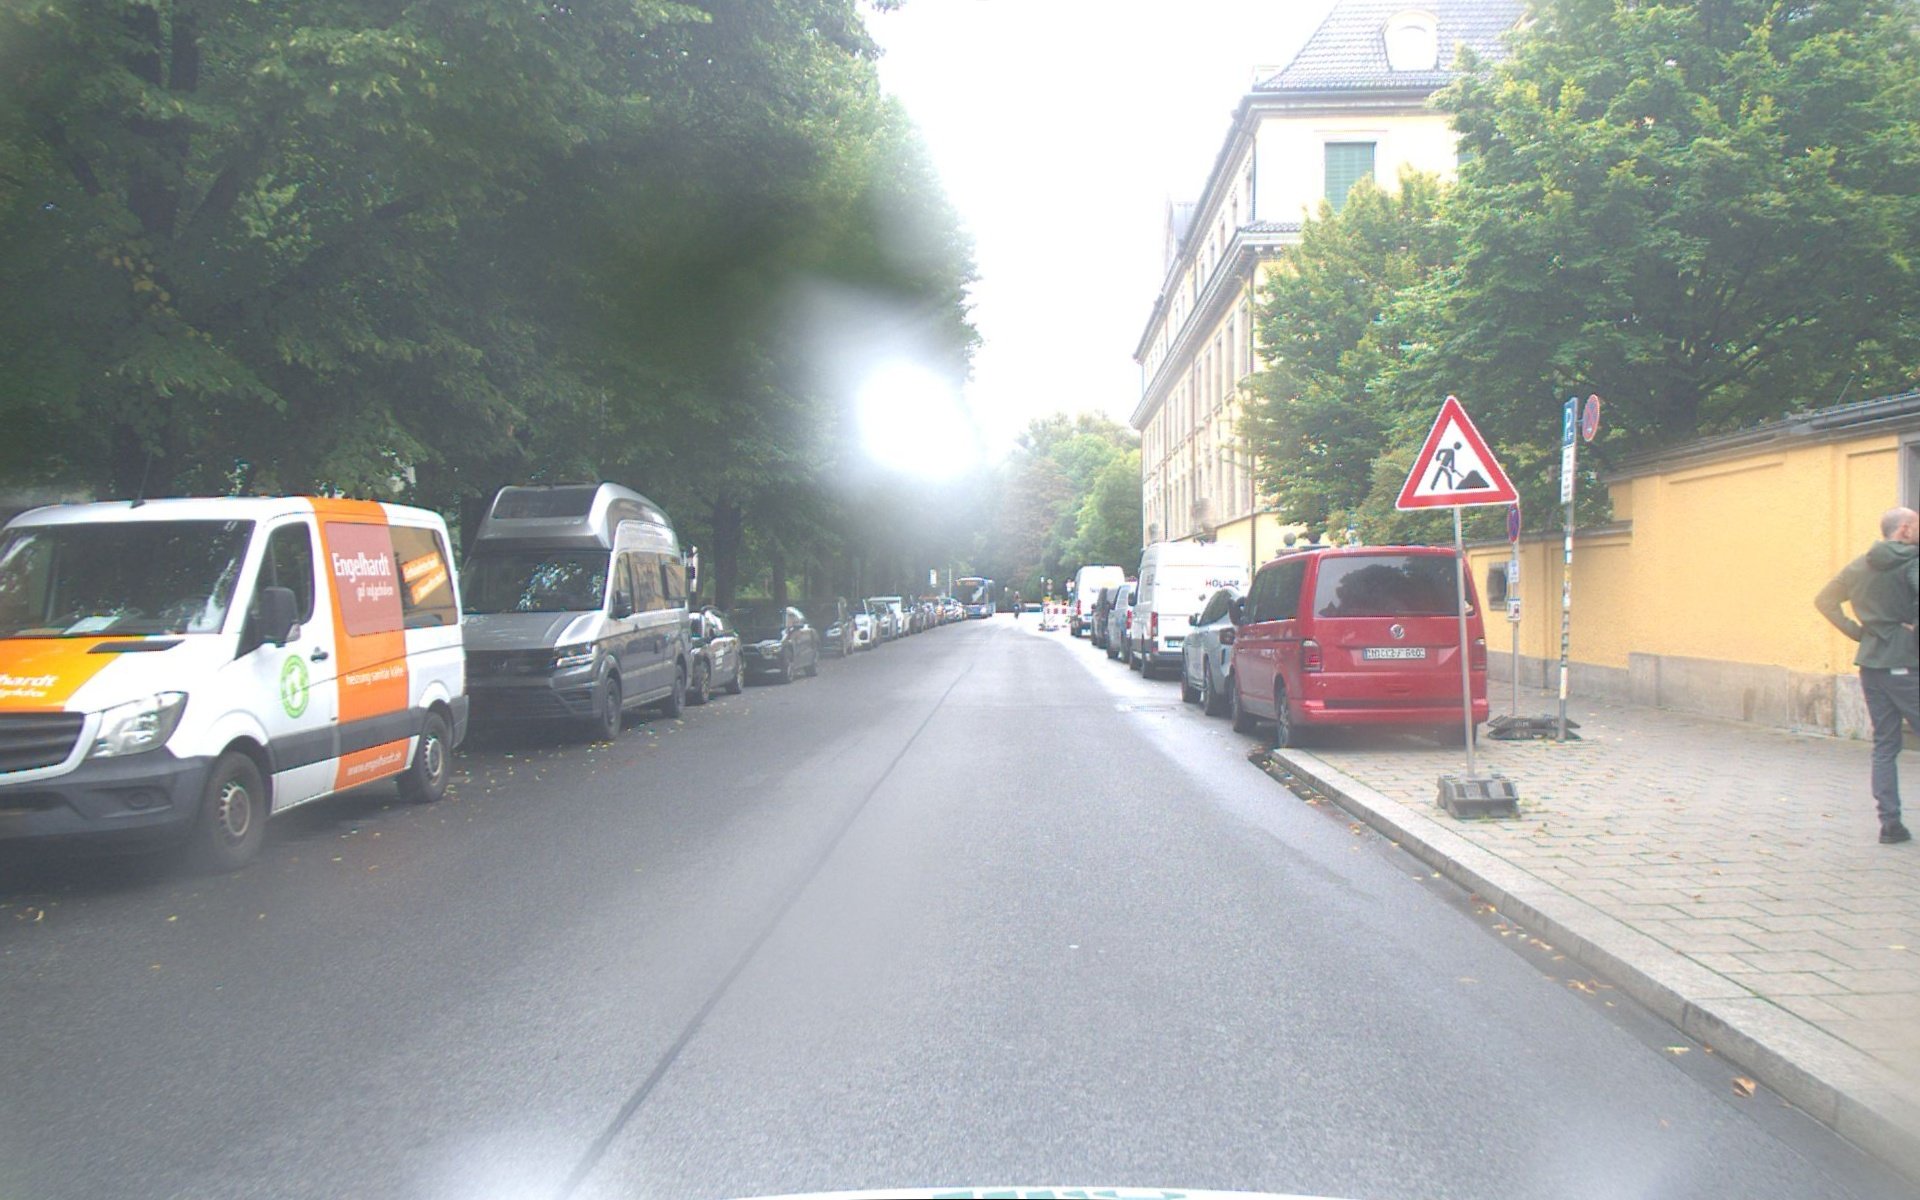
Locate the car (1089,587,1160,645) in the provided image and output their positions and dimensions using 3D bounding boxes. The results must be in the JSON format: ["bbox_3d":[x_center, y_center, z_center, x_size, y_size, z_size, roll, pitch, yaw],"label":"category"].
[{"bbox_3d":[5.011,0.472,50.867,1.758,1.708,4.000,-1,0,0],"label":"car"}]

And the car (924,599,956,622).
[{"bbox_3d":[-1.280,0.658,105.093,1.953,1.445,3.999,0,0,-1],"label":"car"}]

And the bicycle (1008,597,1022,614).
[{"bbox_3d":[3.947,0.414,118.338,1.000,1.177,2.486,-1,0,2],"label":"bicycle"}]

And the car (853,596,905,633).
[{"bbox_3d":[-3.269,0.575,67.409,1.953,1.445,3.999,0,0,-1],"label":"car"}]

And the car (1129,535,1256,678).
[{"bbox_3d":[4.539,0.118,33.073,1.952,2.603,5.432,-1,0,2],"label":"car"}]

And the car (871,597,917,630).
[{"bbox_3d":[-2.916,0.588,73.825,1.953,1.445,3.999,0,0,-1],"label":"car"}]

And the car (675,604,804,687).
[{"bbox_3d":[-4.123,0.811,31.519,1.953,1.445,4.128,0,0,-1],"label":"car"}]

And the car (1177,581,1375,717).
[{"bbox_3d":[4.213,0.601,22.776,1.952,1.663,4.565,-1,0,1],"label":"car"}]

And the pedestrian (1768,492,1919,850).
[{"bbox_3d":[5.197,0.368,9.213,0.809,1.868,0.945,-1,0,-25],"label":"pedestrian"}]

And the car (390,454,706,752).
[{"bbox_3d":[-4.734,0.027,20.196,2.128,3.055,6.234,-1,0,1],"label":"car"}]

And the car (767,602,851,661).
[{"bbox_3d":[-4.073,0.826,45.086,1.953,1.513,4.128,0,0,-1],"label":"car"}]

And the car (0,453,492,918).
[{"bbox_3d":[-5.107,0.453,11.117,2.040,2.304,5.604,-2,0,2],"label":"car"}]

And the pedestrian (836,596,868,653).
[{"bbox_3d":[-3.136,0.703,47.957,0.866,1.626,0.822,0,0,-6],"label":"pedestrian"}]

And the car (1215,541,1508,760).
[{"bbox_3d":[4.019,0.454,17.471,1.872,1.971,4.969,-1,0,0],"label":"car"}]

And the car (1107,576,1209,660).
[{"bbox_3d":[4.734,0.407,40.070,1.953,1.916,4.000,-1,0,0],"label":"car"}]

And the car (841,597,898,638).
[{"bbox_3d":[-3.339,0.623,61.637,1.953,1.445,3.999,0,0,-1],"label":"car"}]

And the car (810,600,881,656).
[{"bbox_3d":[-3.528,0.842,51.602,1.953,1.648,4.128,0,0,-1],"label":"car"}]

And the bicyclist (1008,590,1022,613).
[{"bbox_3d":[3.954,0.107,118.388,1.000,1.572,1.257,-1,0,2],"label":"bicyclist"}]

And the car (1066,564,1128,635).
[{"bbox_3d":[5.312,-0.014,64.683,1.803,2.668,4.381,-1,0,-3],"label":"car"}]

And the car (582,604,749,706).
[{"bbox_3d":[-4.520,0.800,25.975,1.953,1.445,3.999,0,0,-1],"label":"car"}]

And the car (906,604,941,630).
[{"bbox_3d":[-2.073,0.948,95.540,1.953,1.445,3.999,0,0,-1],"label":"car"}]

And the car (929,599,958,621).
[{"bbox_3d":[-1.110,0.674,110.941,1.953,1.445,3.999,0,0,-1],"label":"car"}]

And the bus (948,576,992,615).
[{"bbox_3d":[0.705,-0.347,128.844,2.879,2.970,8.234,0,0,-3],"label":"bus"}]

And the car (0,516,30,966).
[{"bbox_3d":[-5.180,0.644,4.506,1.984,1.941,5.667,-2,0,1],"label":"car"}]
